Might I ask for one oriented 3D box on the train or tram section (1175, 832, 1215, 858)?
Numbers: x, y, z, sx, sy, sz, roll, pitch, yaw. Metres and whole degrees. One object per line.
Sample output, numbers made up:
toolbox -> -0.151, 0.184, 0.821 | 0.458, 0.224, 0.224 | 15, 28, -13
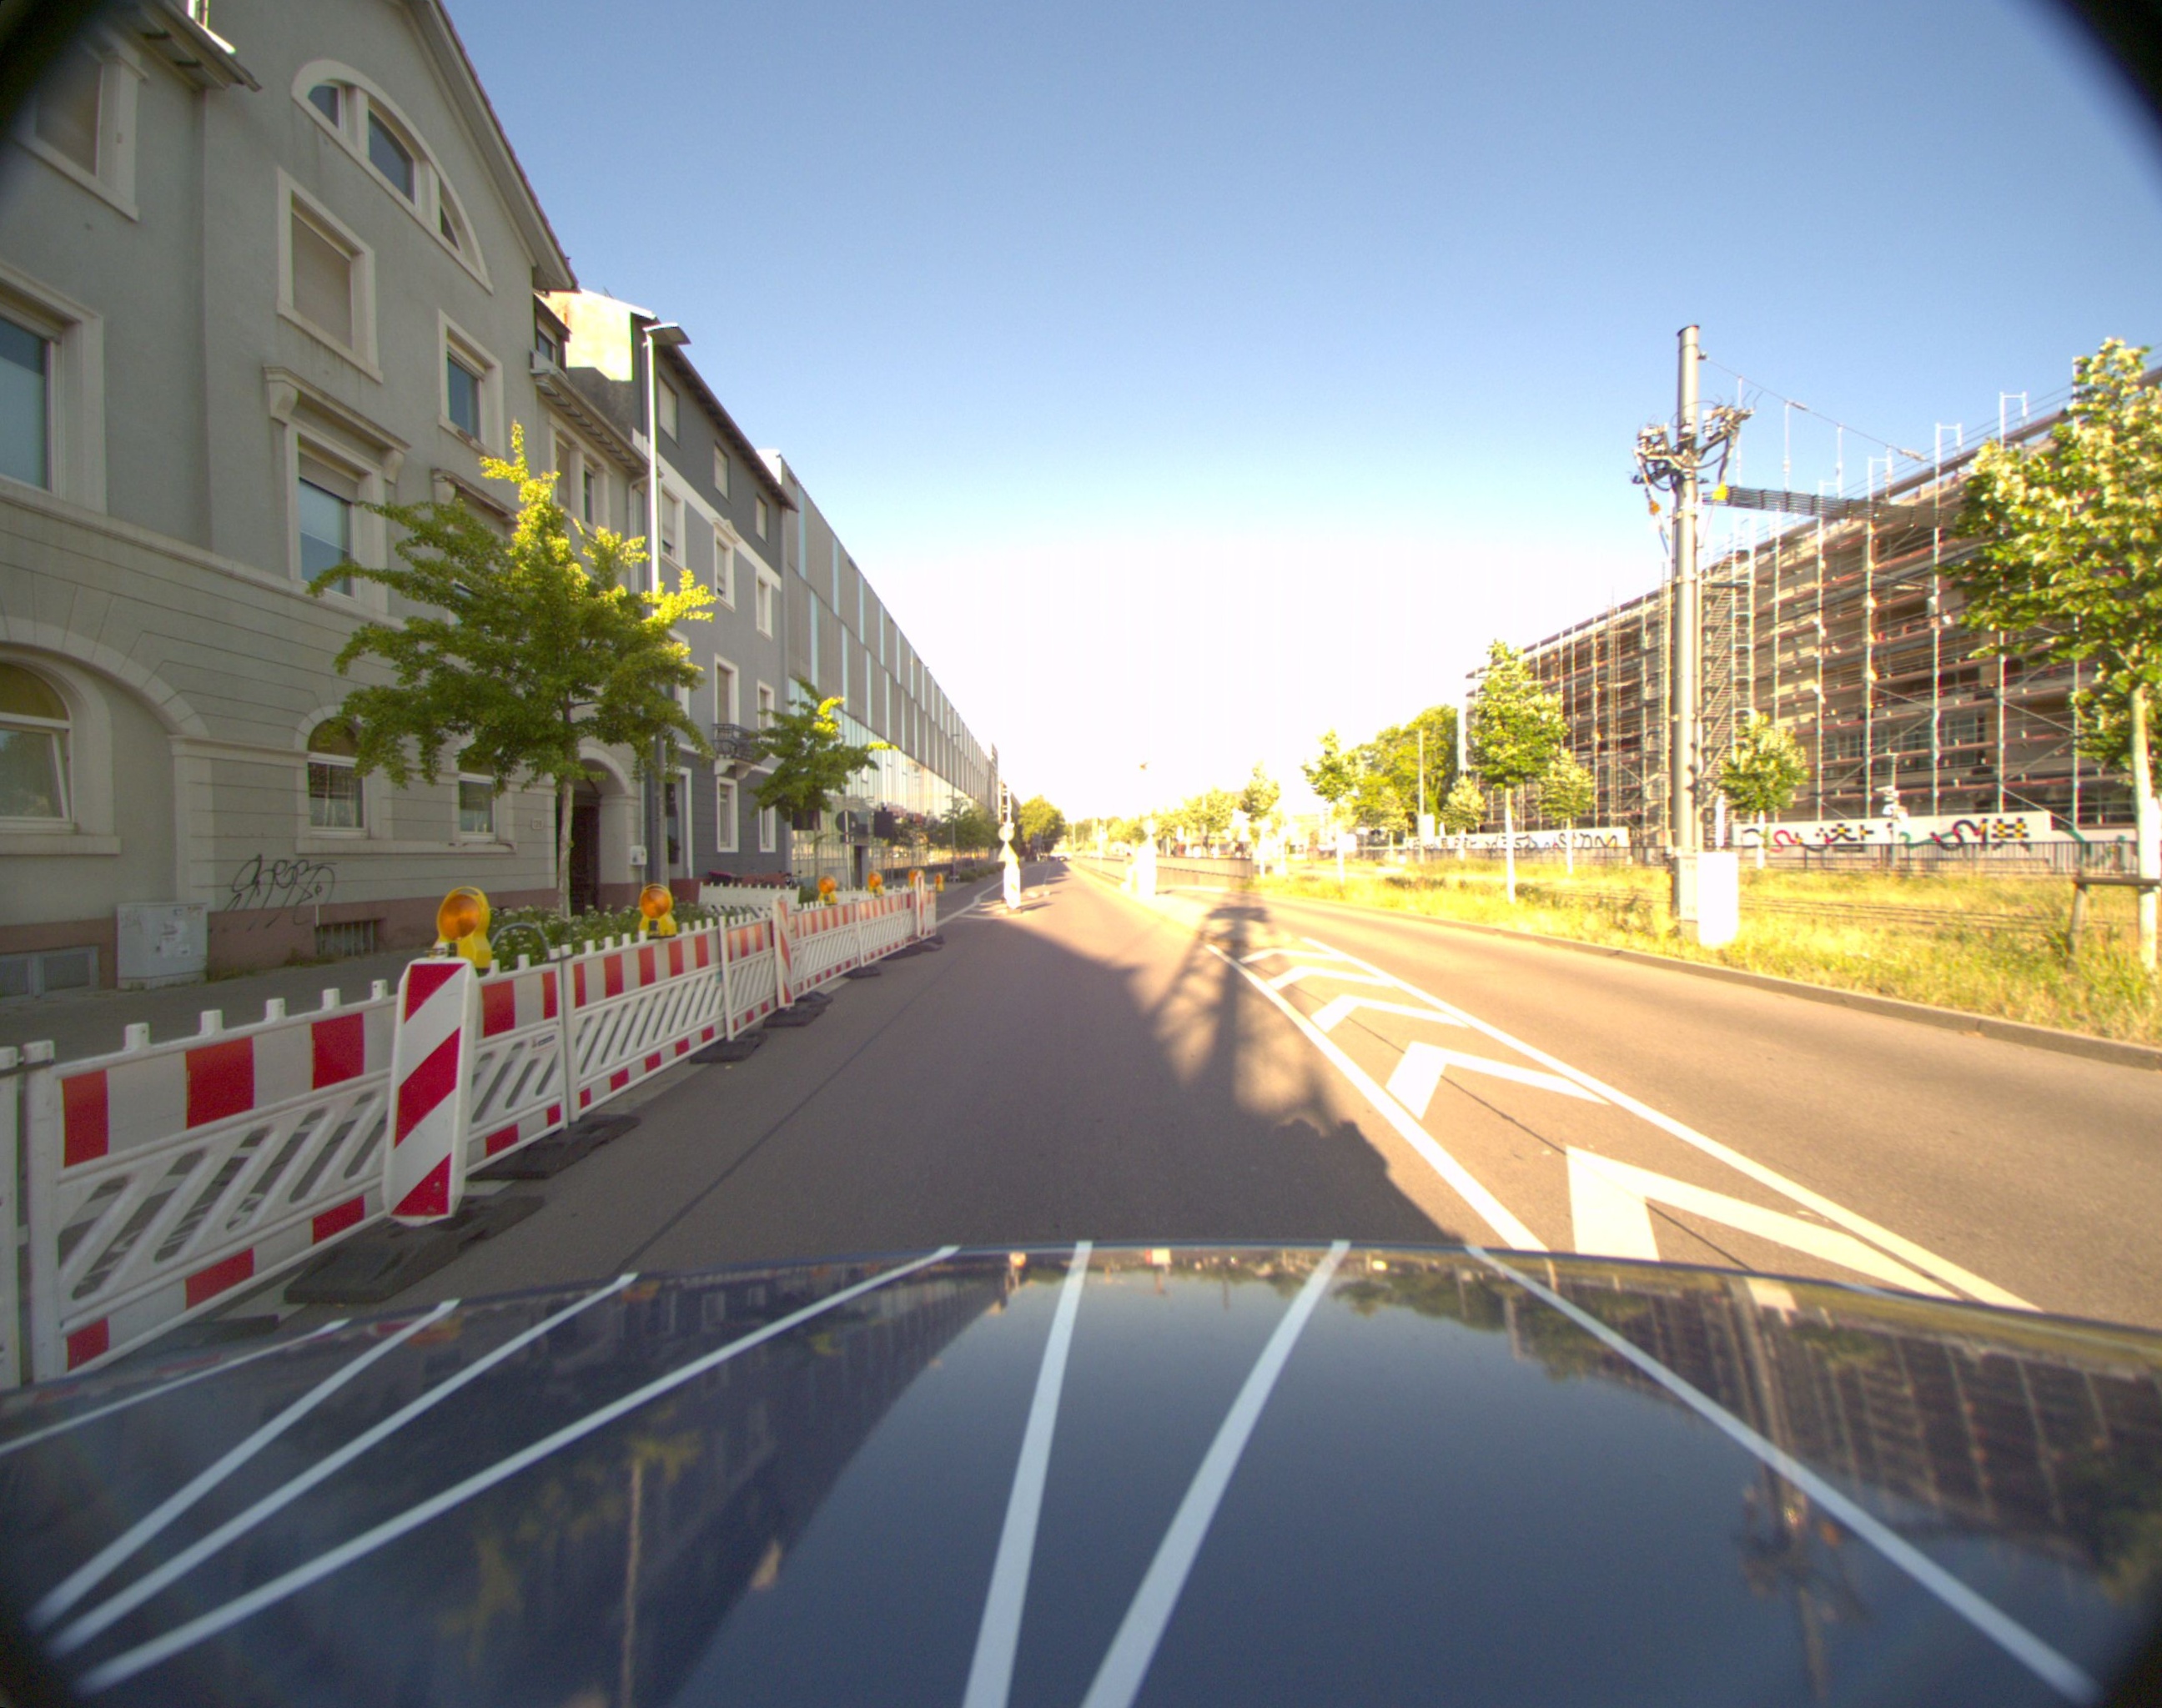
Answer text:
train or tram section -> 16.019, -1.299, 107.952 | 2.954, 3.378, 14.761 | -2, 1, -2

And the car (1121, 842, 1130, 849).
car -> 10.885, -2.101, 186.895 | 1.998, 1.740, 3.999 | -2, 1, 1

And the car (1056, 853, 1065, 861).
car -> -5.089, 0.757, 187.278 | 1.941, 2.002, 3.825 | -1, 0, -3

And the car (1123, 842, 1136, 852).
car -> 8.961, -1.353, 140.895 | 1.998, 1.740, 3.999 | -2, 1, 1

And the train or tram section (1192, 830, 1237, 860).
train or tram section -> 16.395, -1.126, 94.226 | 2.954, 3.378, 12.630 | -2, 1, -2
